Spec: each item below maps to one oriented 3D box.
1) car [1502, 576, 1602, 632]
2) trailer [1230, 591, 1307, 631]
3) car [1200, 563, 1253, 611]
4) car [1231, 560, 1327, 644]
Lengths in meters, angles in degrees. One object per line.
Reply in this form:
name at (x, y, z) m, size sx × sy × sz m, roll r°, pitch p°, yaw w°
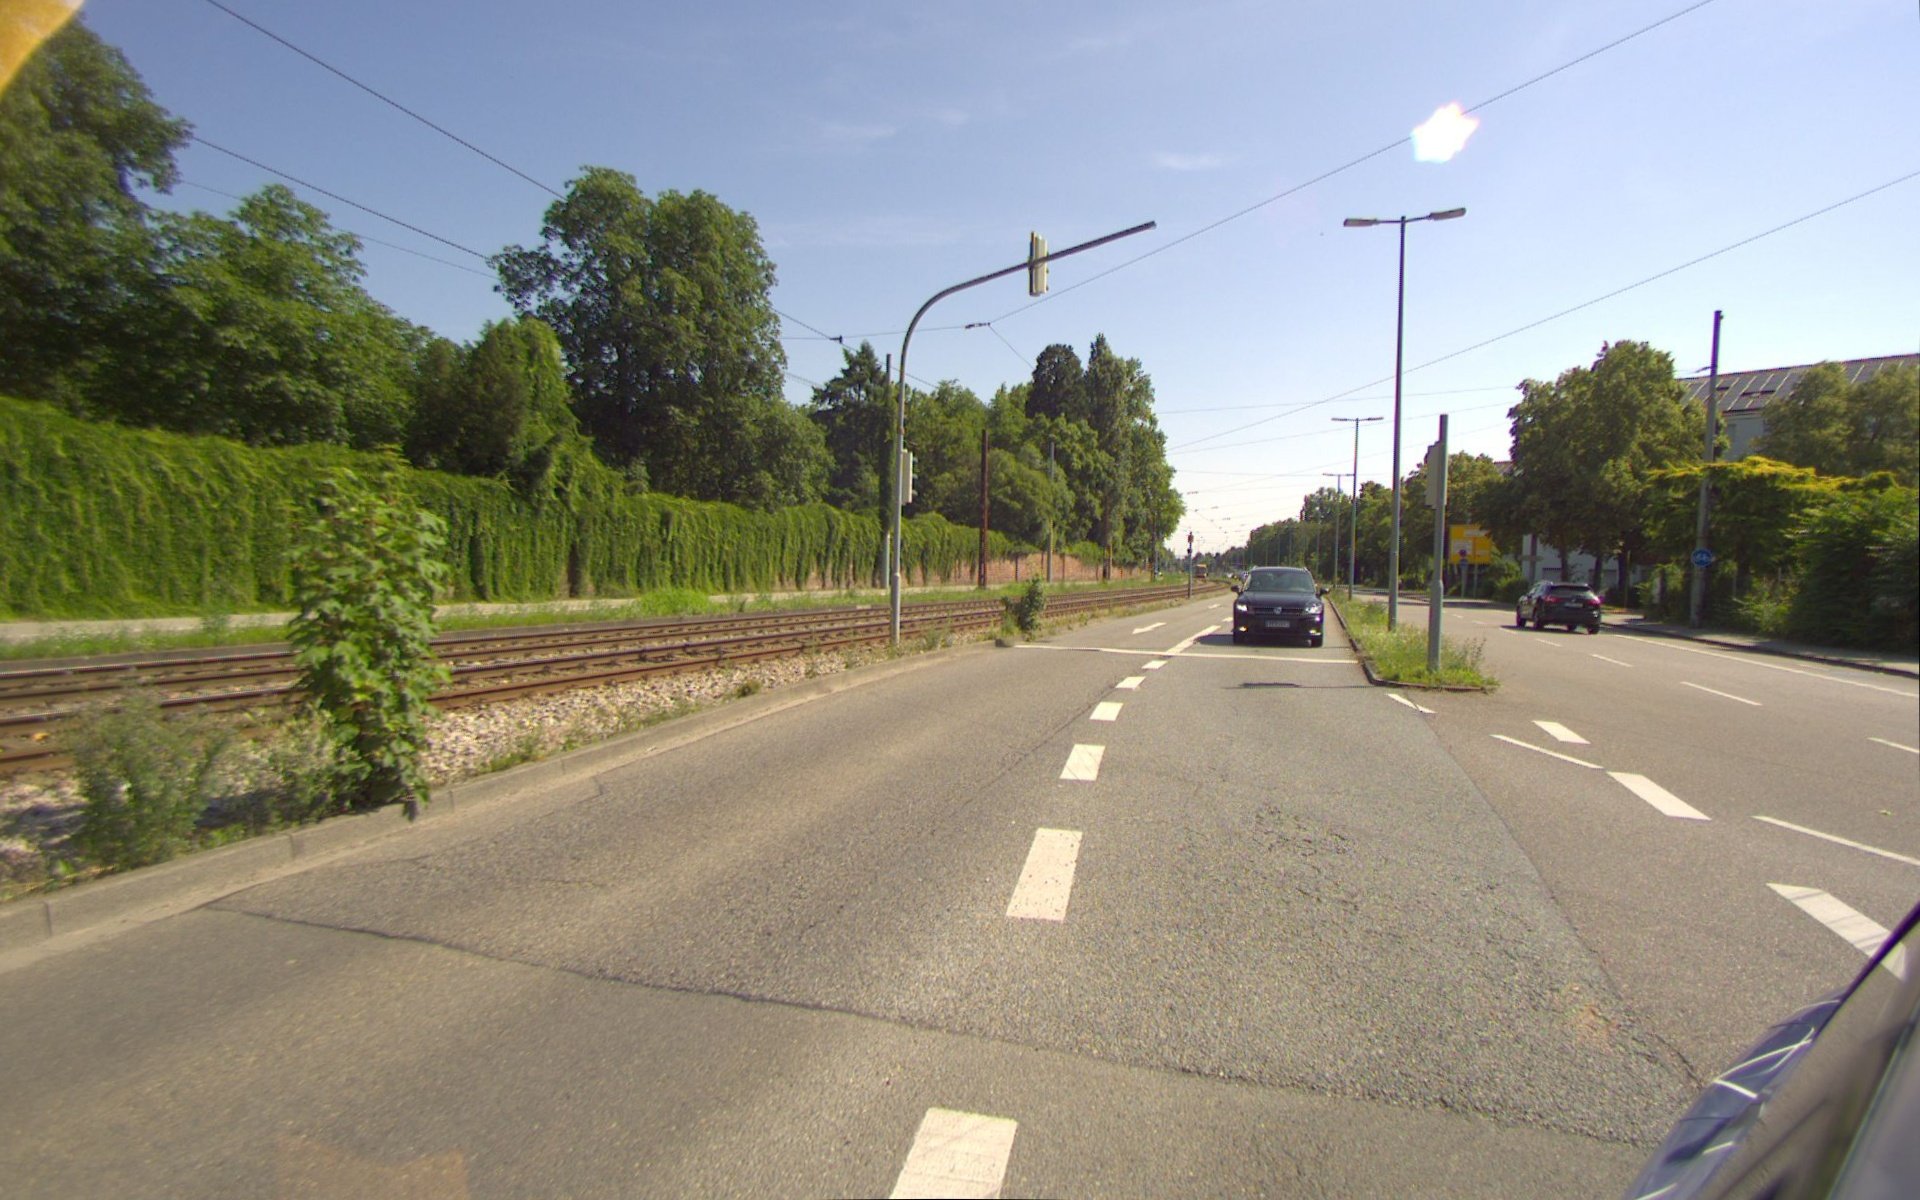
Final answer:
car at (19.214, 0.067, 33.039) m, size 1.733 × 1.601 × 4.482 m, roll 4°, pitch 2°, yaw 17°
trailer at (7.823, 0.243, 25.900) m, size 1.731 × 0.828 × 3.057 m, roll 2°, pitch 2°, yaw 15°
car at (9.871, -0.527, 37.527) m, size 1.731 × 1.601 × 4.486 m, roll 2°, pitch 2°, yaw 15°
car at (6.893, -0.036, 22.245) m, size 1.731 × 1.601 × 4.486 m, roll 2°, pitch 2°, yaw 15°
